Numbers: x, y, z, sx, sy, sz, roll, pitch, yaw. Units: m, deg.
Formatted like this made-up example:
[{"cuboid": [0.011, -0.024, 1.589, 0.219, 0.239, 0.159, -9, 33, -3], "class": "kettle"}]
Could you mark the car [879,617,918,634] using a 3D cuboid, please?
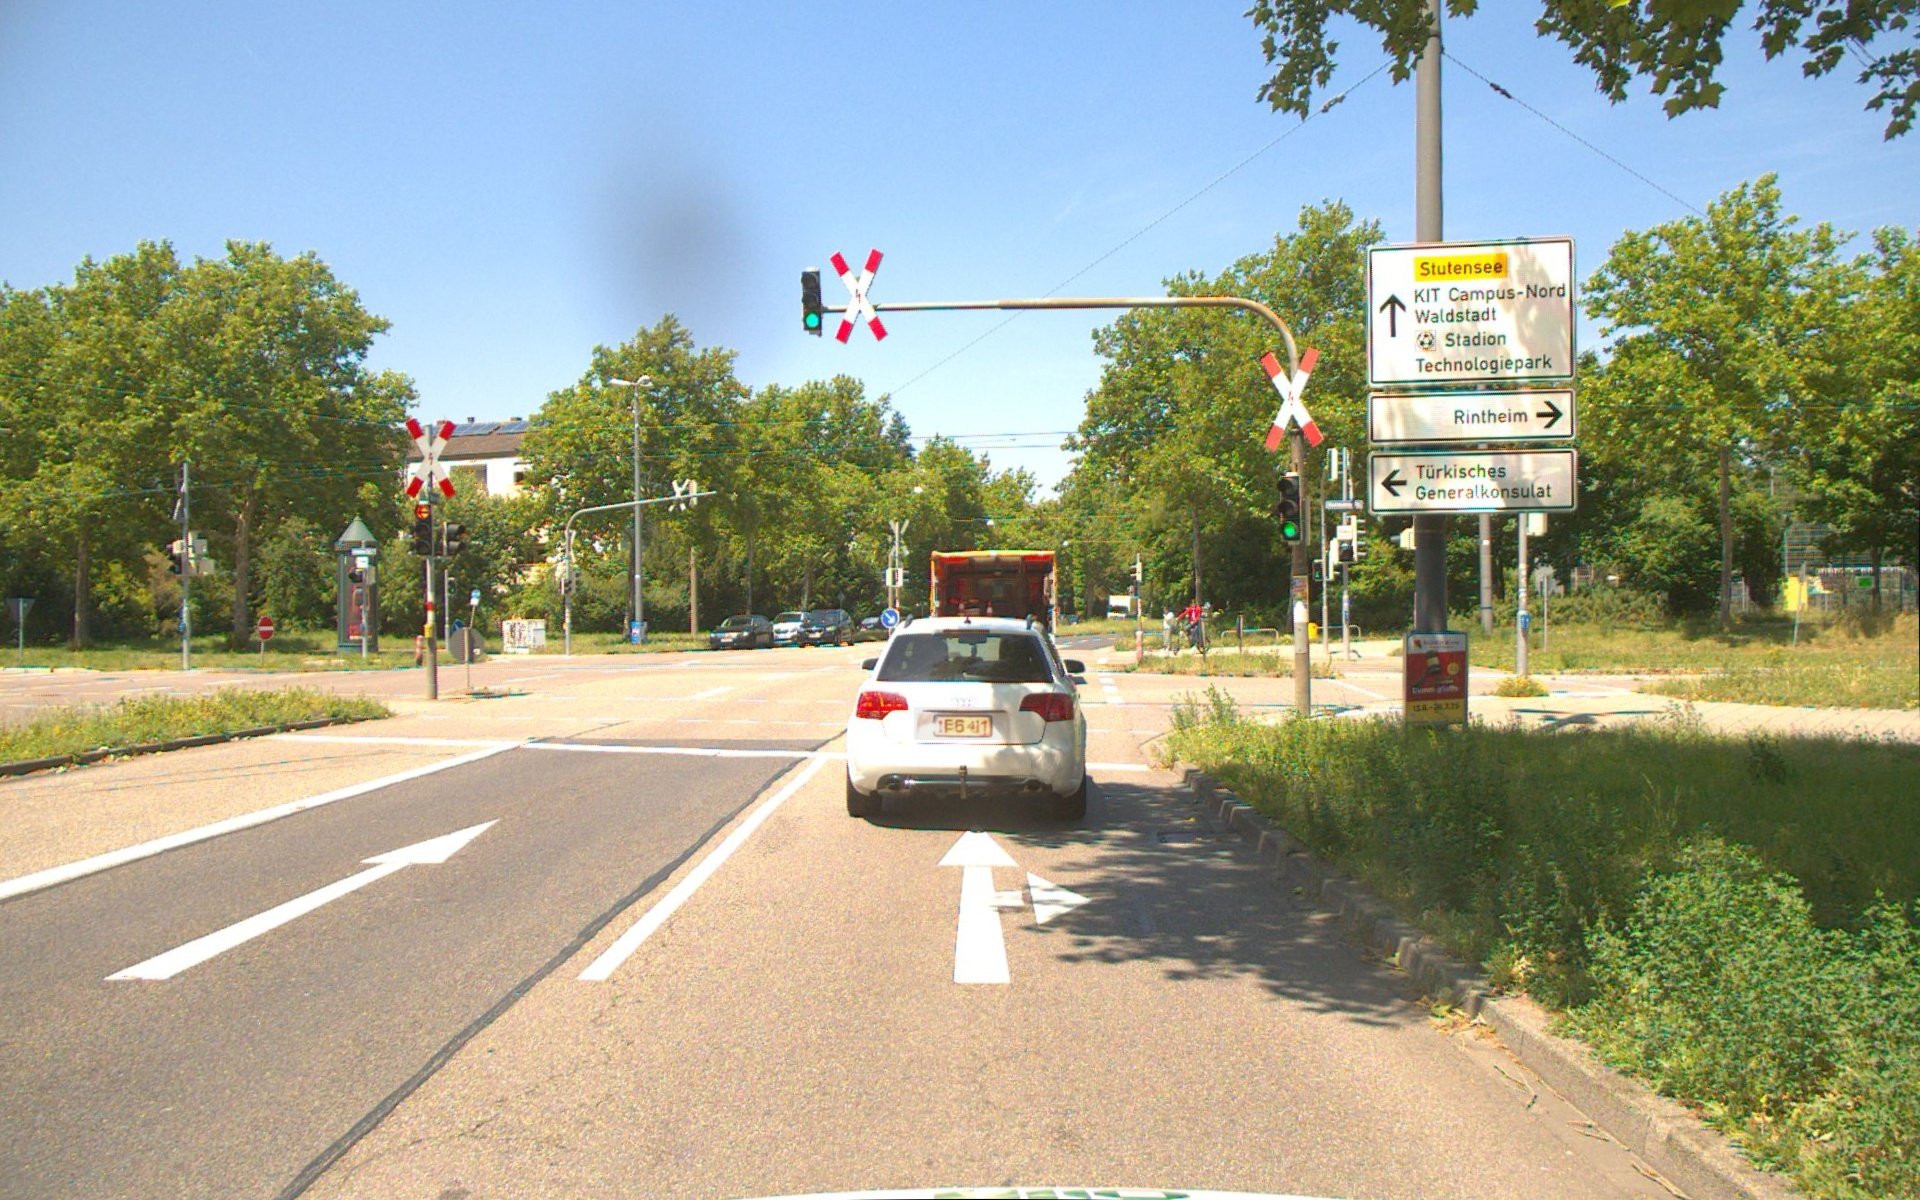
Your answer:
[{"cuboid": [-5.251, 2.189, 141.756, 1.843, 1.400, 4.000, -1, -1, 22], "class": "car"}]

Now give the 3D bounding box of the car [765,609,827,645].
[{"cuboid": [-7.702, 1.260, 78.085, 1.749, 1.643, 4.408, -1, 0, 10], "class": "car"}]

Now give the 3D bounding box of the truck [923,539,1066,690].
[{"cuboid": [0.620, 0.296, 32.687, 2.459, 2.604, 7.602, 1, -1, 0], "class": "truck"}]

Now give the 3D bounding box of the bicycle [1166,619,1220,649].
[{"cuboid": [7.480, 1.082, 53.095, 1.791, 0.911, 0.581, -1, -1, -36], "class": "bicycle"}]

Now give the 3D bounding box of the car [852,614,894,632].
[{"cuboid": [-7.188, 1.901, 136.421, 1.844, 1.417, 3.998, -1, -1, 24], "class": "car"}]

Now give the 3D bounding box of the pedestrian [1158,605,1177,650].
[{"cuboid": [7.035, 0.918, 55.987, 0.541, 1.510, 0.630, -1, -1, 14], "class": "pedestrian"}]

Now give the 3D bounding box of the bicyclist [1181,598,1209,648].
[{"cuboid": [7.556, 0.727, 53.161, 0.666, 1.583, 0.572, 0, -1, -35], "class": "bicyclist"}]

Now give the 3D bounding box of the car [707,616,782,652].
[{"cuboid": [-9.221, 1.443, 71.205, 1.907, 1.465, 4.750, 0, 0, 9], "class": "car"}]

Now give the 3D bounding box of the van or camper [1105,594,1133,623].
[{"cuboid": [19.079, 1.023, 197.964, 2.604, 3.390, 5.505, -1, -1, 13], "class": "van or camper"}]

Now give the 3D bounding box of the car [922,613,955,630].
[{"cuboid": [-1.945, 1.943, 151.344, 1.842, 1.500, 4.002, -1, -1, 18], "class": "car"}]

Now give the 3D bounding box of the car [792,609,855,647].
[{"cuboid": [-5.853, 1.181, 71.566, 1.868, 1.566, 4.302, -1, 0, 7], "class": "car"}]

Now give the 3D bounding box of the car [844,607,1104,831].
[{"cuboid": [0.161, 0.797, 12.798, 1.726, 1.471, 3.617, 0, 0, 2], "class": "car"}]
